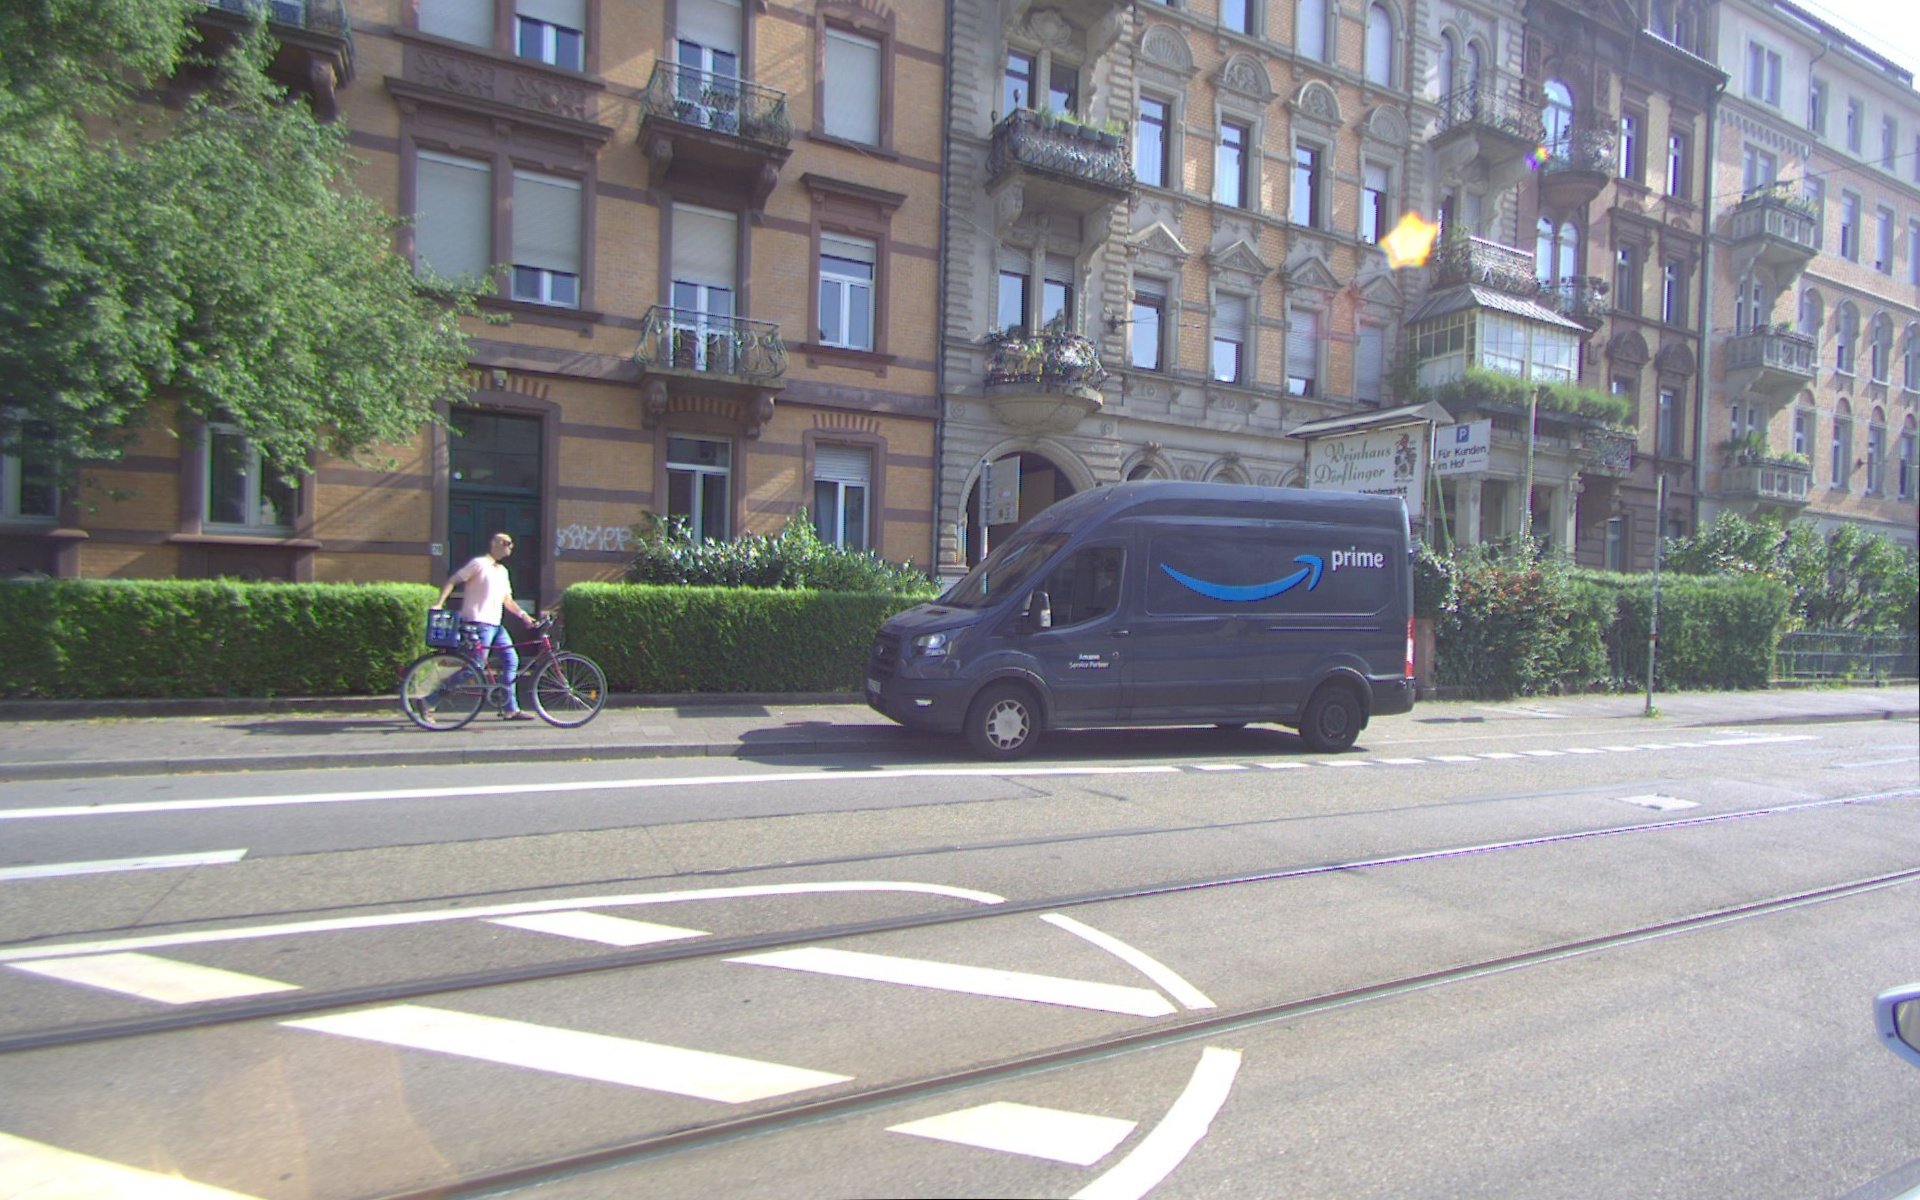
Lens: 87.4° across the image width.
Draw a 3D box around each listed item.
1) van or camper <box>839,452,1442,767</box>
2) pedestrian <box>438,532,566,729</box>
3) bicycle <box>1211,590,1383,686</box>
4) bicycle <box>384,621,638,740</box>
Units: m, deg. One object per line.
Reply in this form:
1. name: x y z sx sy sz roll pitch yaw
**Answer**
1. van or camper: 1.925 0.184 10.574 5.997 2.679 2.048 2 0 -20
2. pedestrian: -4.508 0.288 9.878 1.079 1.830 0.724 1 1 -28
3. bicycle: 5.876 0.617 17.735 0.987 1.474 2.858 1 1 -33
4. bicycle: -4.221 0.729 9.551 2.123 1.020 0.616 1 0 -28
